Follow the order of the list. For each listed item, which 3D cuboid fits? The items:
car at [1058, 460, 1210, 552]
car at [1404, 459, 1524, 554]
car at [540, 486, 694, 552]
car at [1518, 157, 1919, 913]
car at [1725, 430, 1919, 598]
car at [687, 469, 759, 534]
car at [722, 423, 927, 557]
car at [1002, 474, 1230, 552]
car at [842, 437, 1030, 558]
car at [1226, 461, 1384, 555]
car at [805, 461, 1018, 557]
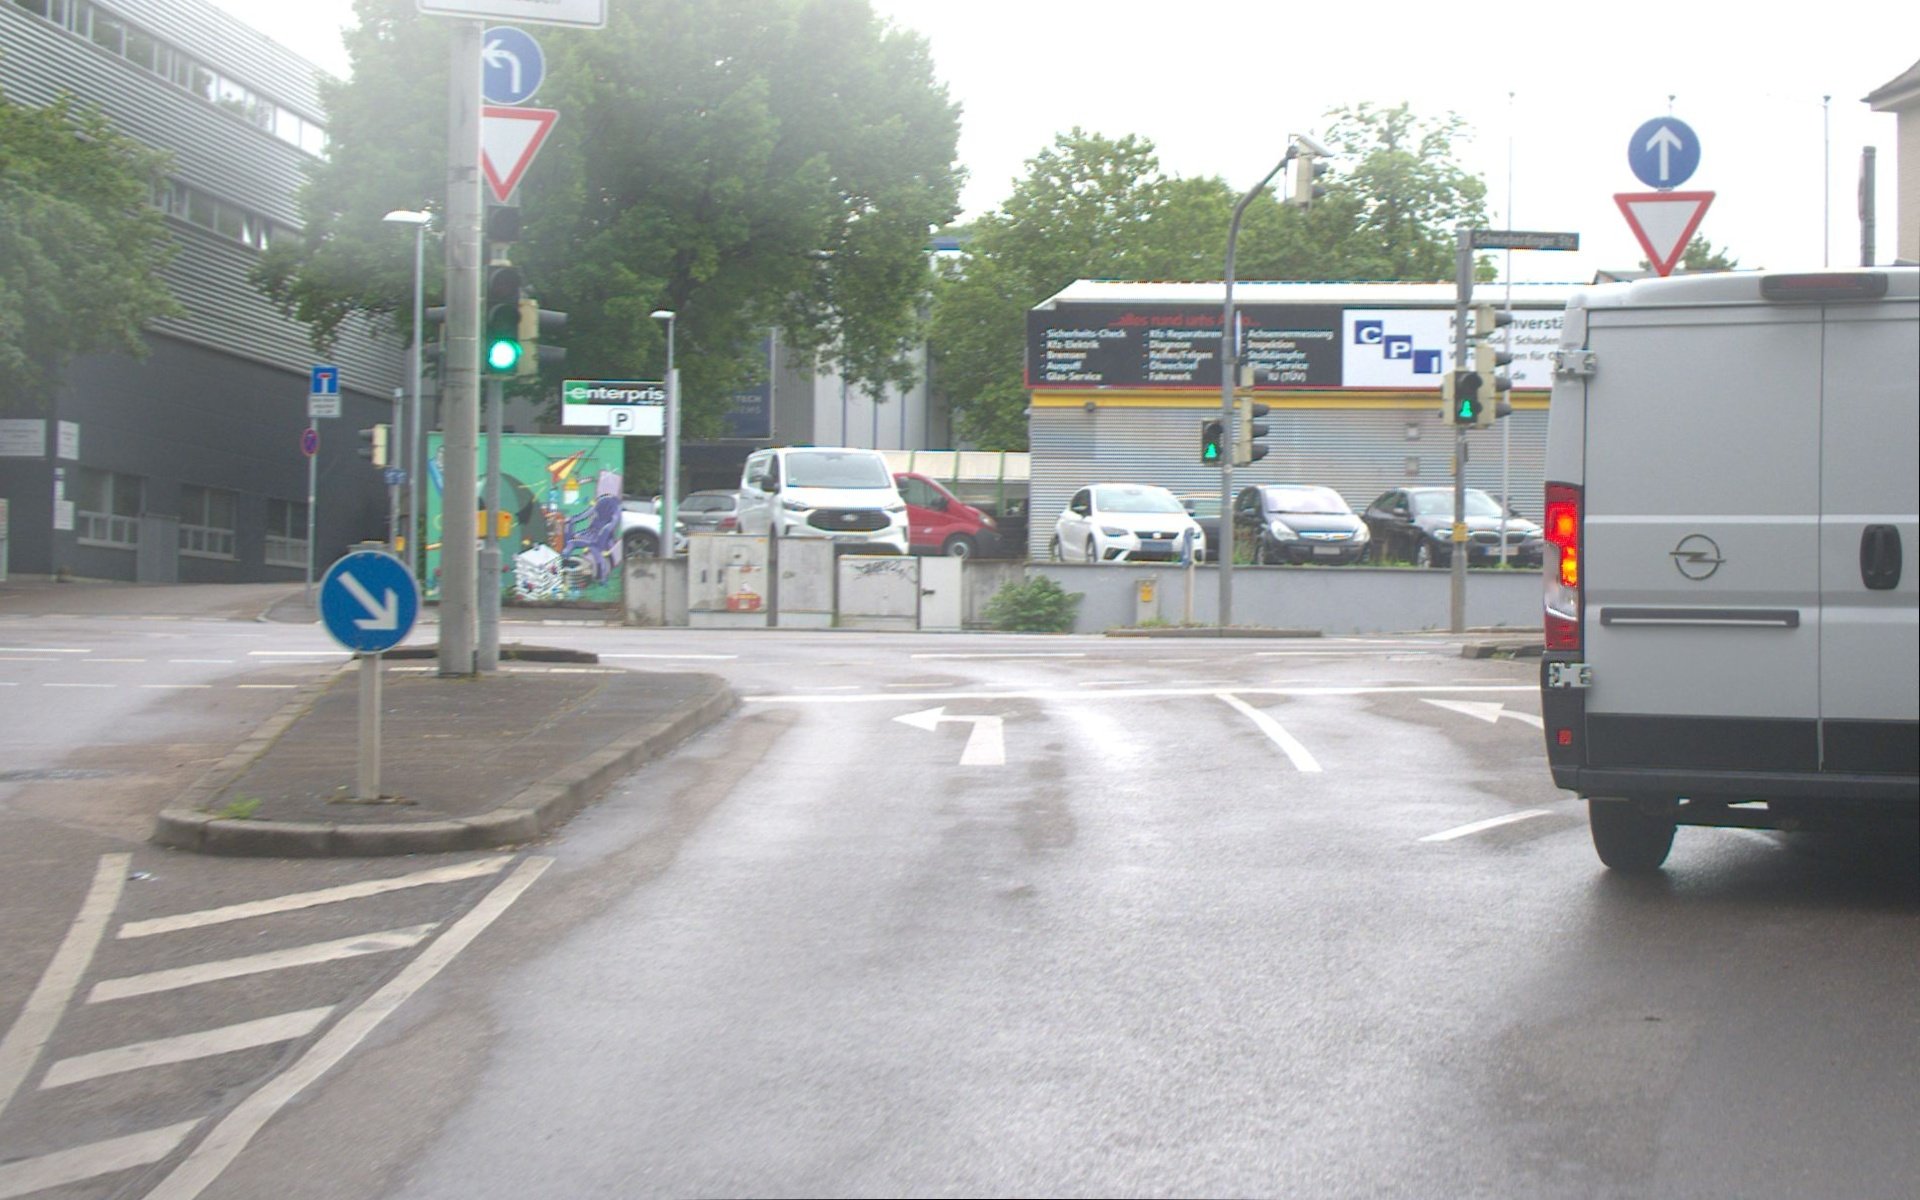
[{"bbox_3d":[2.652,-1.474,53.204,1.866,1.364,3.624,0,2,-5],"label":"car"},{"bbox_3d":[7.702,-1.446,52.696,1.223,1.419,2.687,0,2,-5],"label":"car"},{"bbox_3d":[-6.297,-1.482,63.052,2.712,1.101,1.198,1,-1,-10],"label":"car"},{"bbox_3d":[3.963,-0.335,13.775,2.053,2.507,4.937,2,3,26],"label":"car"},{"bbox_3d":[11.486,-0.963,38.906,5.152,1.812,1.940,0,-1,-4],"label":"car"},{"bbox_3d":[-5.099,-2.115,74.154,1.209,1.299,2.338,1,-1,4],"label":"car"},{"bbox_3d":[-2.162,-1.639,52.911,2.212,1.795,5.373,1,-1,-12],"label":"car"},{"bbox_3d":[3.042,-1.680,66.734,4.327,1.402,1.373,-1,-1,6],"label":"car"},{"bbox_3d":[-0.505,-2.217,74.520,3.974,2.489,1.654,1,-1,2],"label":"car"},{"bbox_3d":[5.221,-1.423,52.396,1.736,1.364,3.624,0,2,-5],"label":"car"},{"bbox_3d":[-0.980,-1.868,71.161,4.296,1.854,1.740,1,-1,2],"label":"car"}]
